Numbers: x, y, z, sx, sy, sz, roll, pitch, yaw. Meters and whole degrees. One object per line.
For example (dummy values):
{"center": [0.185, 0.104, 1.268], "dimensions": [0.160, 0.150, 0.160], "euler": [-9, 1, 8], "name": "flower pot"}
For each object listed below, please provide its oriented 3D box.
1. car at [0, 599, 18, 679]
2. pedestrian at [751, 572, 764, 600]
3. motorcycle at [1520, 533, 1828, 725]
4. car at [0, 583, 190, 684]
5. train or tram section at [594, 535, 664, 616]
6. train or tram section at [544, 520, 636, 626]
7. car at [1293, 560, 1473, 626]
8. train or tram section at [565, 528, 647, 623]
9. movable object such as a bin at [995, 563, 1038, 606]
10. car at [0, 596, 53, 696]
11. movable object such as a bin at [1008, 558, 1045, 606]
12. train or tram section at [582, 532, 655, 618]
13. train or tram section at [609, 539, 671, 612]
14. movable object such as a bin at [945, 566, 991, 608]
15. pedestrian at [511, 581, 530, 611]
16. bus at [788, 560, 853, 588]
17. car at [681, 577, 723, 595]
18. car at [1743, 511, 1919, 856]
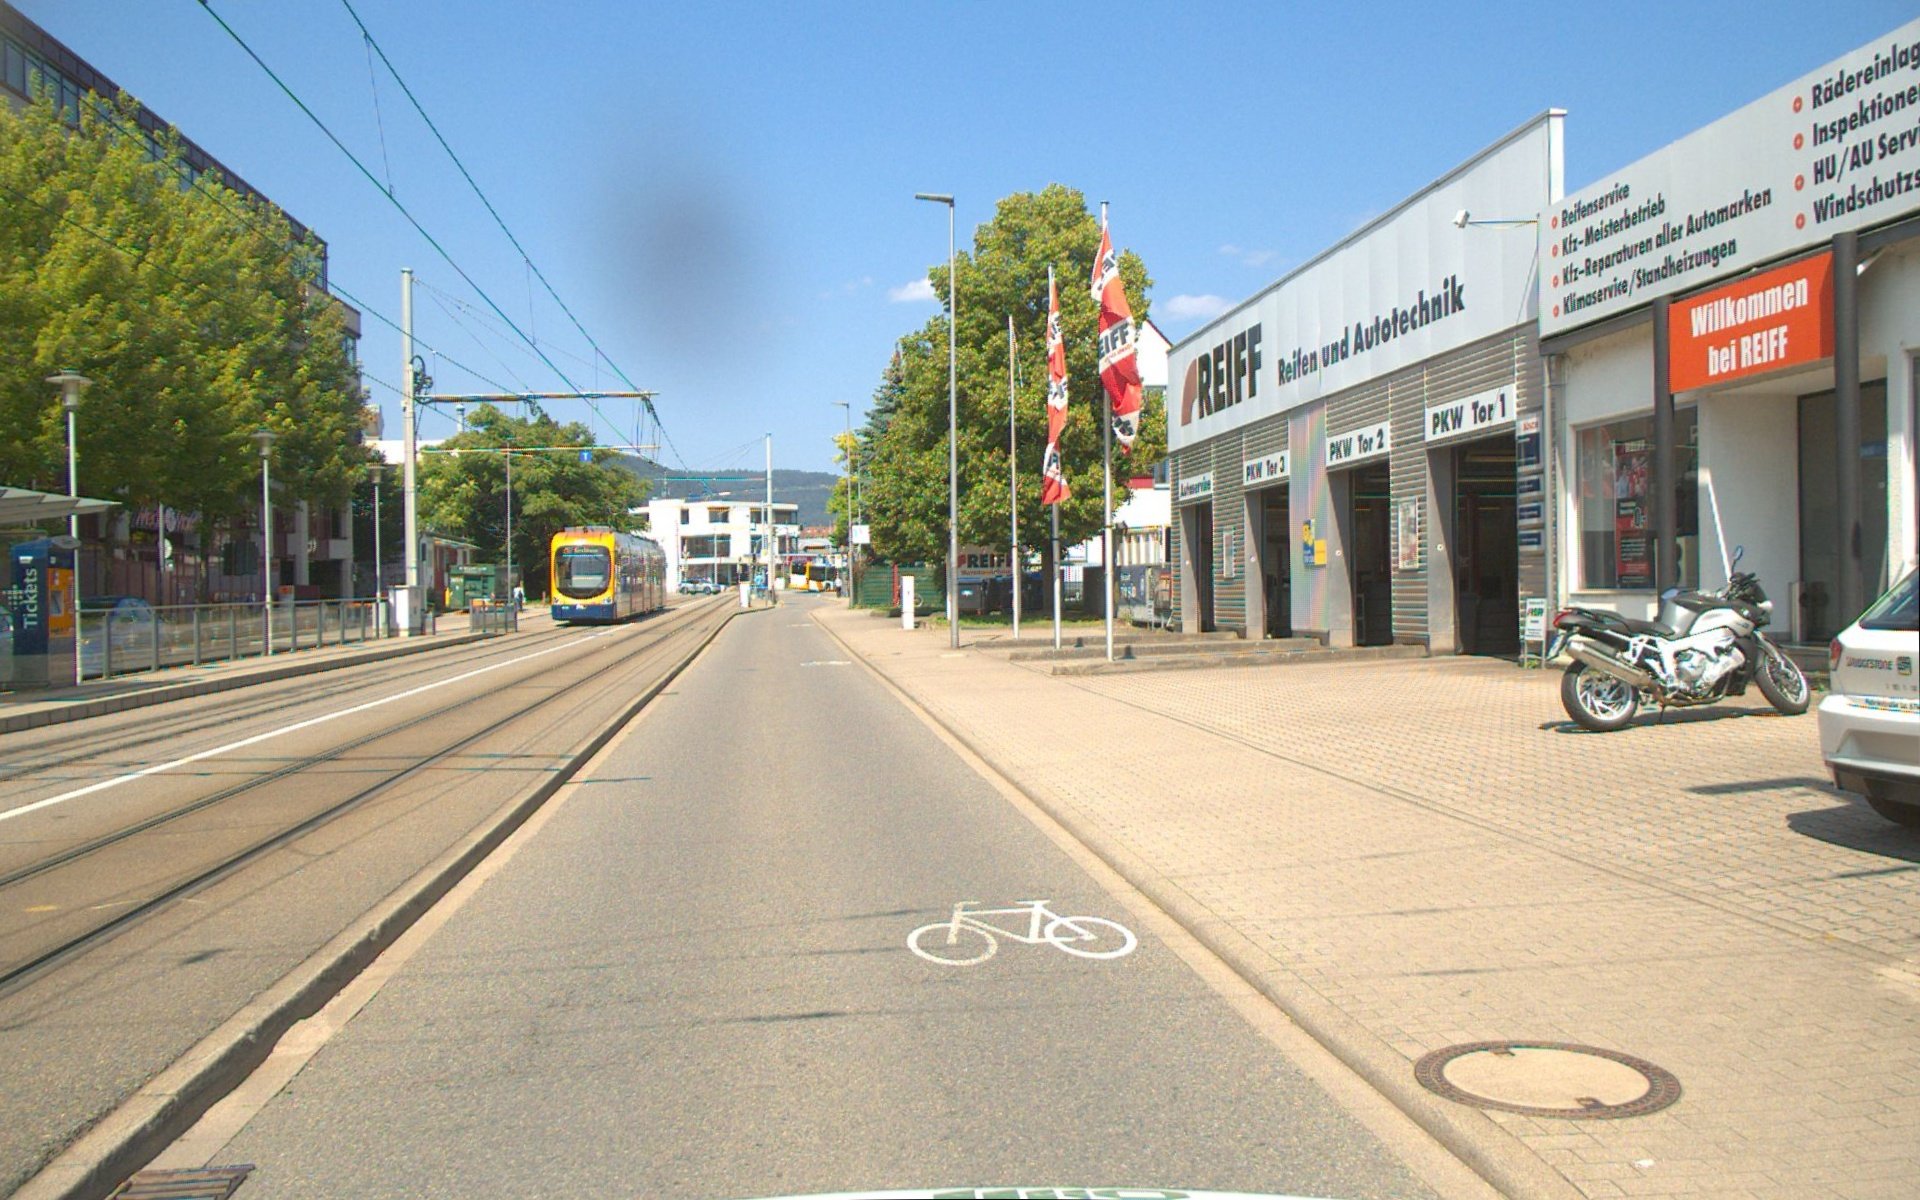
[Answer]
{"center": [-18.610, 0.745, 29.475], "dimensions": [1.689, 1.489, 3.900], "euler": [0, 1, -6], "name": "car"}
{"center": [-13.047, -0.888, 106.643], "dimensions": [0.729, 1.771, 0.726], "euler": [-2, 1, -7], "name": "pedestrian"}
{"center": [5.735, 0.216, 13.322], "dimensions": [2.143, 1.331, 0.730], "euler": [-4, 0, -8], "name": "motorcycle"}
{"center": [-15.765, 0.550, 30.362], "dimensions": [1.690, 1.611, 4.065], "euler": [-4, 1, -7], "name": "car"}
{"center": [-15.326, -1.143, 77.004], "dimensions": [2.531, 3.507, 7.126], "euler": [-2, 1, -7], "name": "train or tram section"}
{"center": [-13.306, -0.964, 59.840], "dimensions": [2.561, 3.594, 5.734], "euler": [-2, 1, -7], "name": "train or tram section"}
{"center": [9.832, -0.172, 38.566], "dimensions": [3.695, 1.400, 1.720], "euler": [-2, 1, -12], "name": "car"}
{"center": [-13.961, -0.975, 65.615], "dimensions": [2.561, 3.507, 5.834], "euler": [-2, 1, -7], "name": "train or tram section"}
{"center": [1.981, -0.529, 57.734], "dimensions": [1.289, 1.455, 0.885], "euler": [-1, -1, 18], "name": "movable object such as a bin"}
{"center": [-15.312, 0.749, 24.580], "dimensions": [1.690, 1.498, 4.272], "euler": [-3, 1, -7], "name": "car"}
{"center": [2.238, -0.610, 55.943], "dimensions": [0.960, 1.574, 1.317], "euler": [-1, -1, -10], "name": "movable object such as a bin"}
{"center": [-14.577, -1.070, 70.973], "dimensions": [2.561, 3.507, 5.003], "euler": [-2, 1, -7], "name": "train or tram section"}
{"center": [-16.126, -1.240, 83.721], "dimensions": [2.531, 3.507, 6.353], "euler": [-2, 1, -7], "name": "train or tram section"}
{"center": [0.277, -0.445, 58.094], "dimensions": [1.355, 1.455, 0.991], "euler": [-1, -1, 18], "name": "movable object such as a bin"}
{"center": [-23.274, -0.218, 87.678], "dimensions": [0.819, 1.564, 0.837], "euler": [-2, 1, -7], "name": "pedestrian"}
{"center": [-14.865, -2.775, 177.180], "dimensions": [2.390, 2.930, 8.777], "euler": [-1, 1, 30], "name": "bus"}
{"center": [-26.607, -1.435, 170.866], "dimensions": [3.905, 1.780, 1.776], "euler": [-1, 1, 21], "name": "car"}
{"center": [6.054, 0.208, 7.691], "dimensions": [3.914, 1.487, 1.886], "euler": [-5, 1, -9], "name": "car"}
